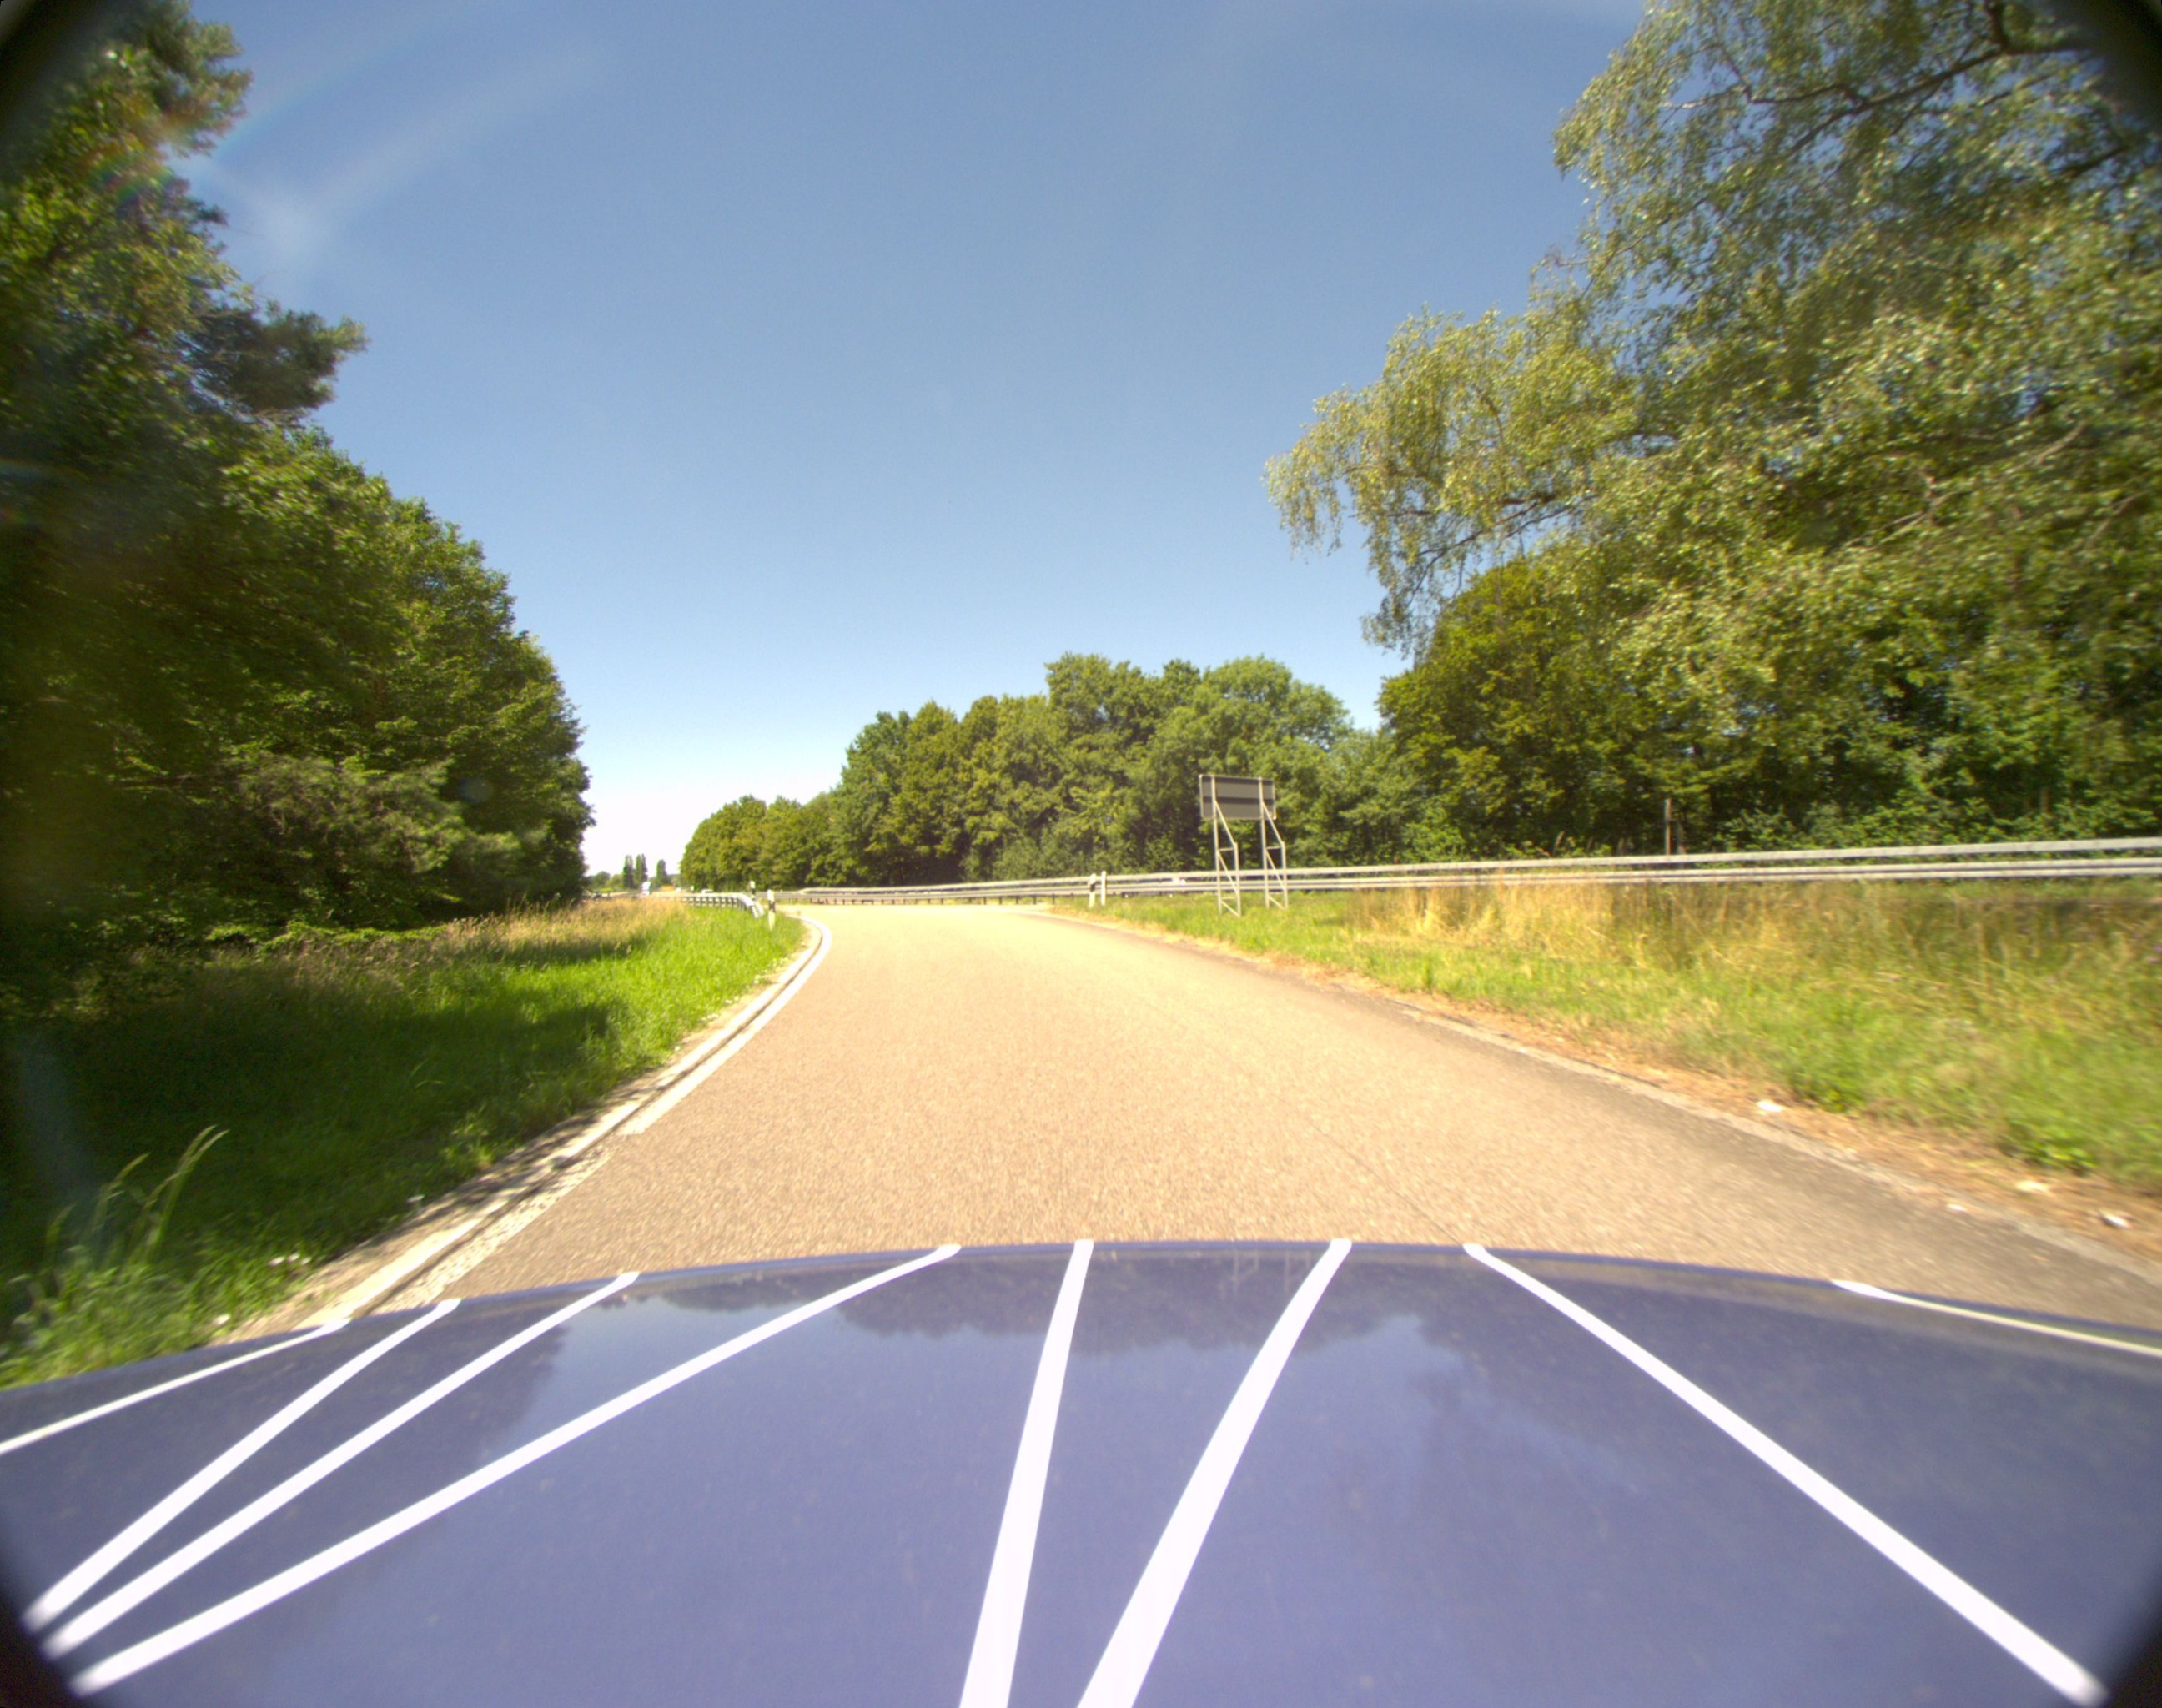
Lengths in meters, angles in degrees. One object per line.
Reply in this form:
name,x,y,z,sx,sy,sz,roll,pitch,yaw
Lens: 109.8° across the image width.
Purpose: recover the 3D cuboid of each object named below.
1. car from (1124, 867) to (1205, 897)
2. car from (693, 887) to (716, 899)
car,4.032,1.395,37.101,3.838,1.372,1.448,-4,-3,44
car,-50.572,5.282,102.010,1.765,1.563,4.402,1,-3,-41
